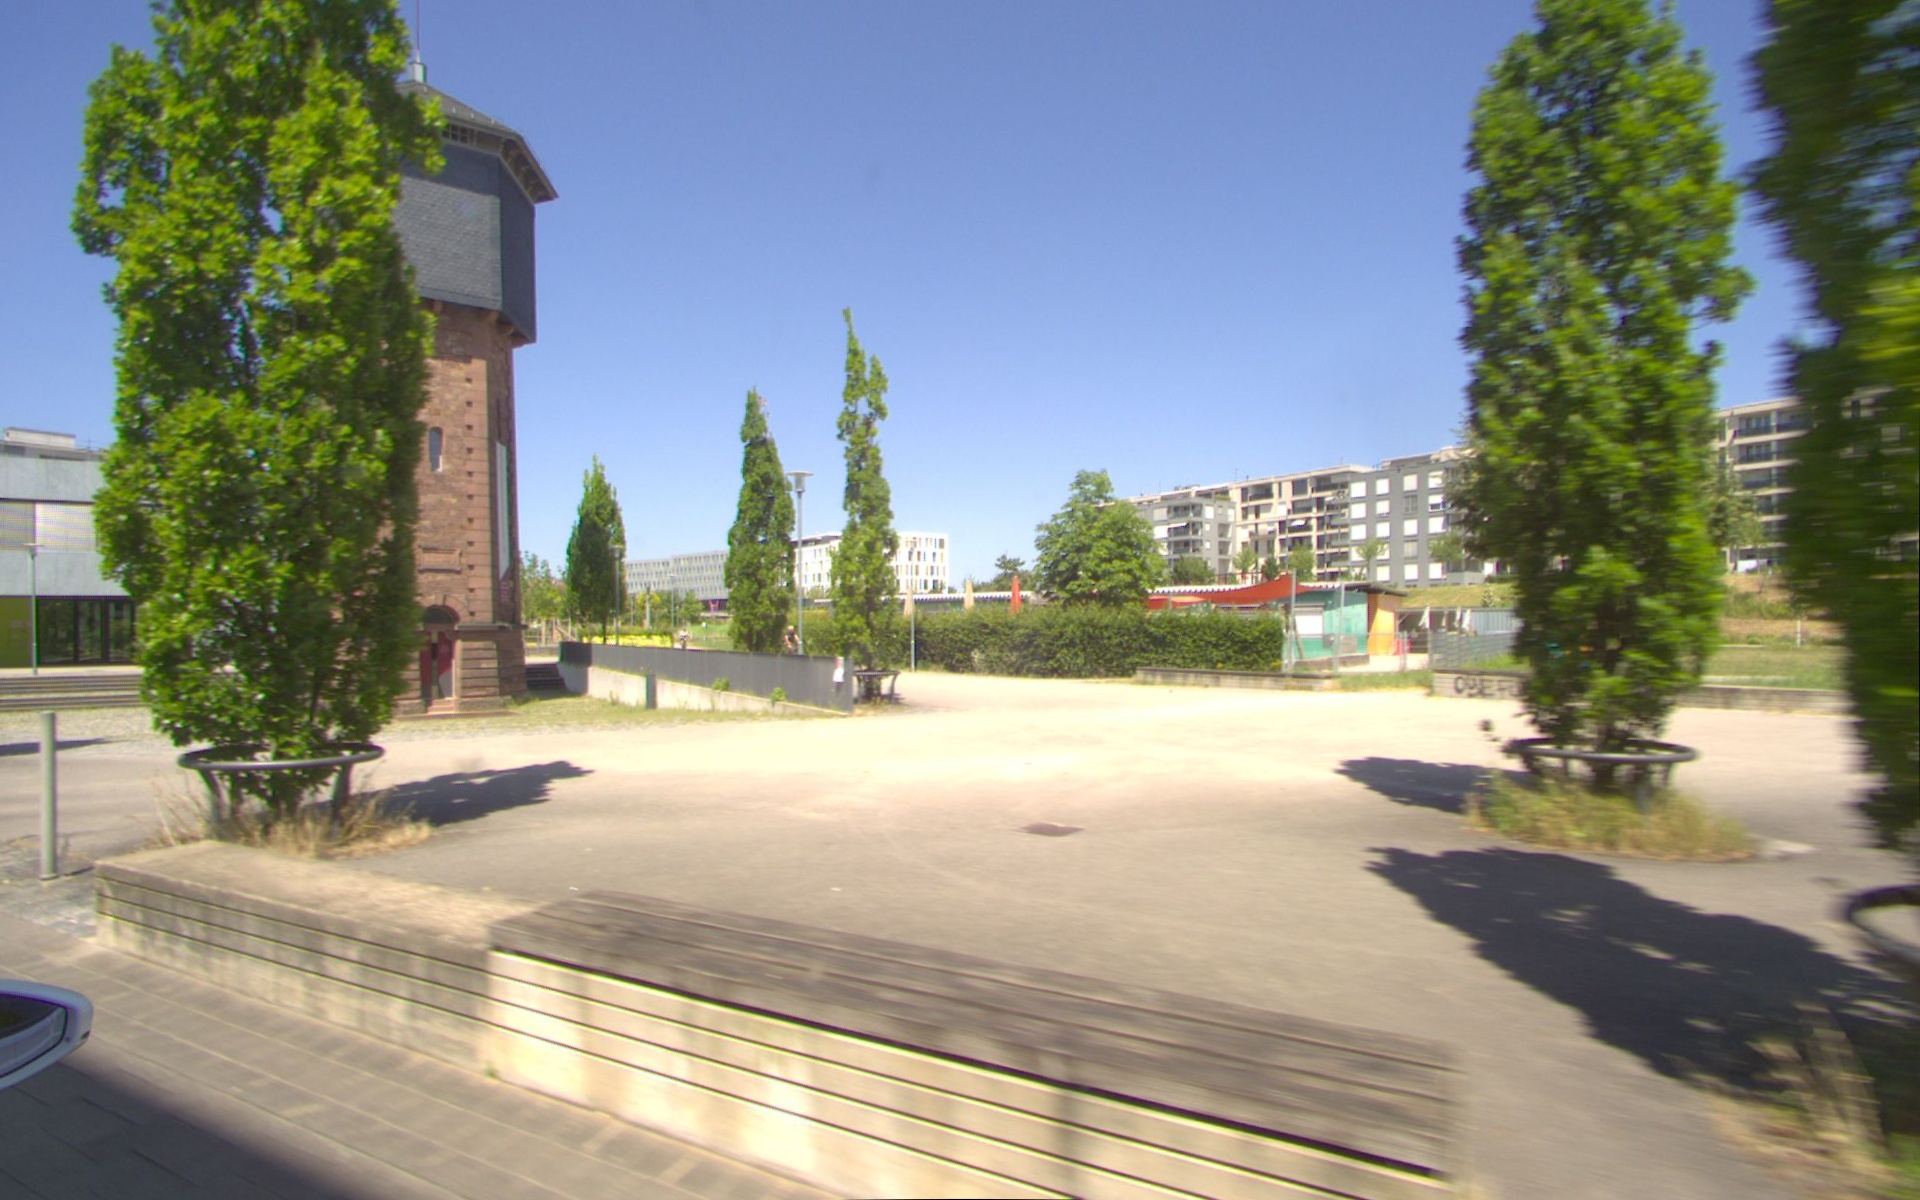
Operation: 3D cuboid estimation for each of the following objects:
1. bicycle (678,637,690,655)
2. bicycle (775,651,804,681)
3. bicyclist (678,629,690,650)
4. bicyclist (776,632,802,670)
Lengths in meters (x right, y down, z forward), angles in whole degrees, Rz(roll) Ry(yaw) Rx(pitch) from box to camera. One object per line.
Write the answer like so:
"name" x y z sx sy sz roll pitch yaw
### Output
"bicycle" -19.322 3.216 70.036 0.581 1.214 1.937 0 -2 -21
"bicycle" -6.801 2.616 39.950 0.785 1.132 1.910 0 -2 -21
"bicyclist" -19.312 2.751 70.018 0.721 1.453 0.659 0 -1 -22
"bicyclist" -6.835 2.041 40.027 0.845 1.474 0.881 0 -1 -21
